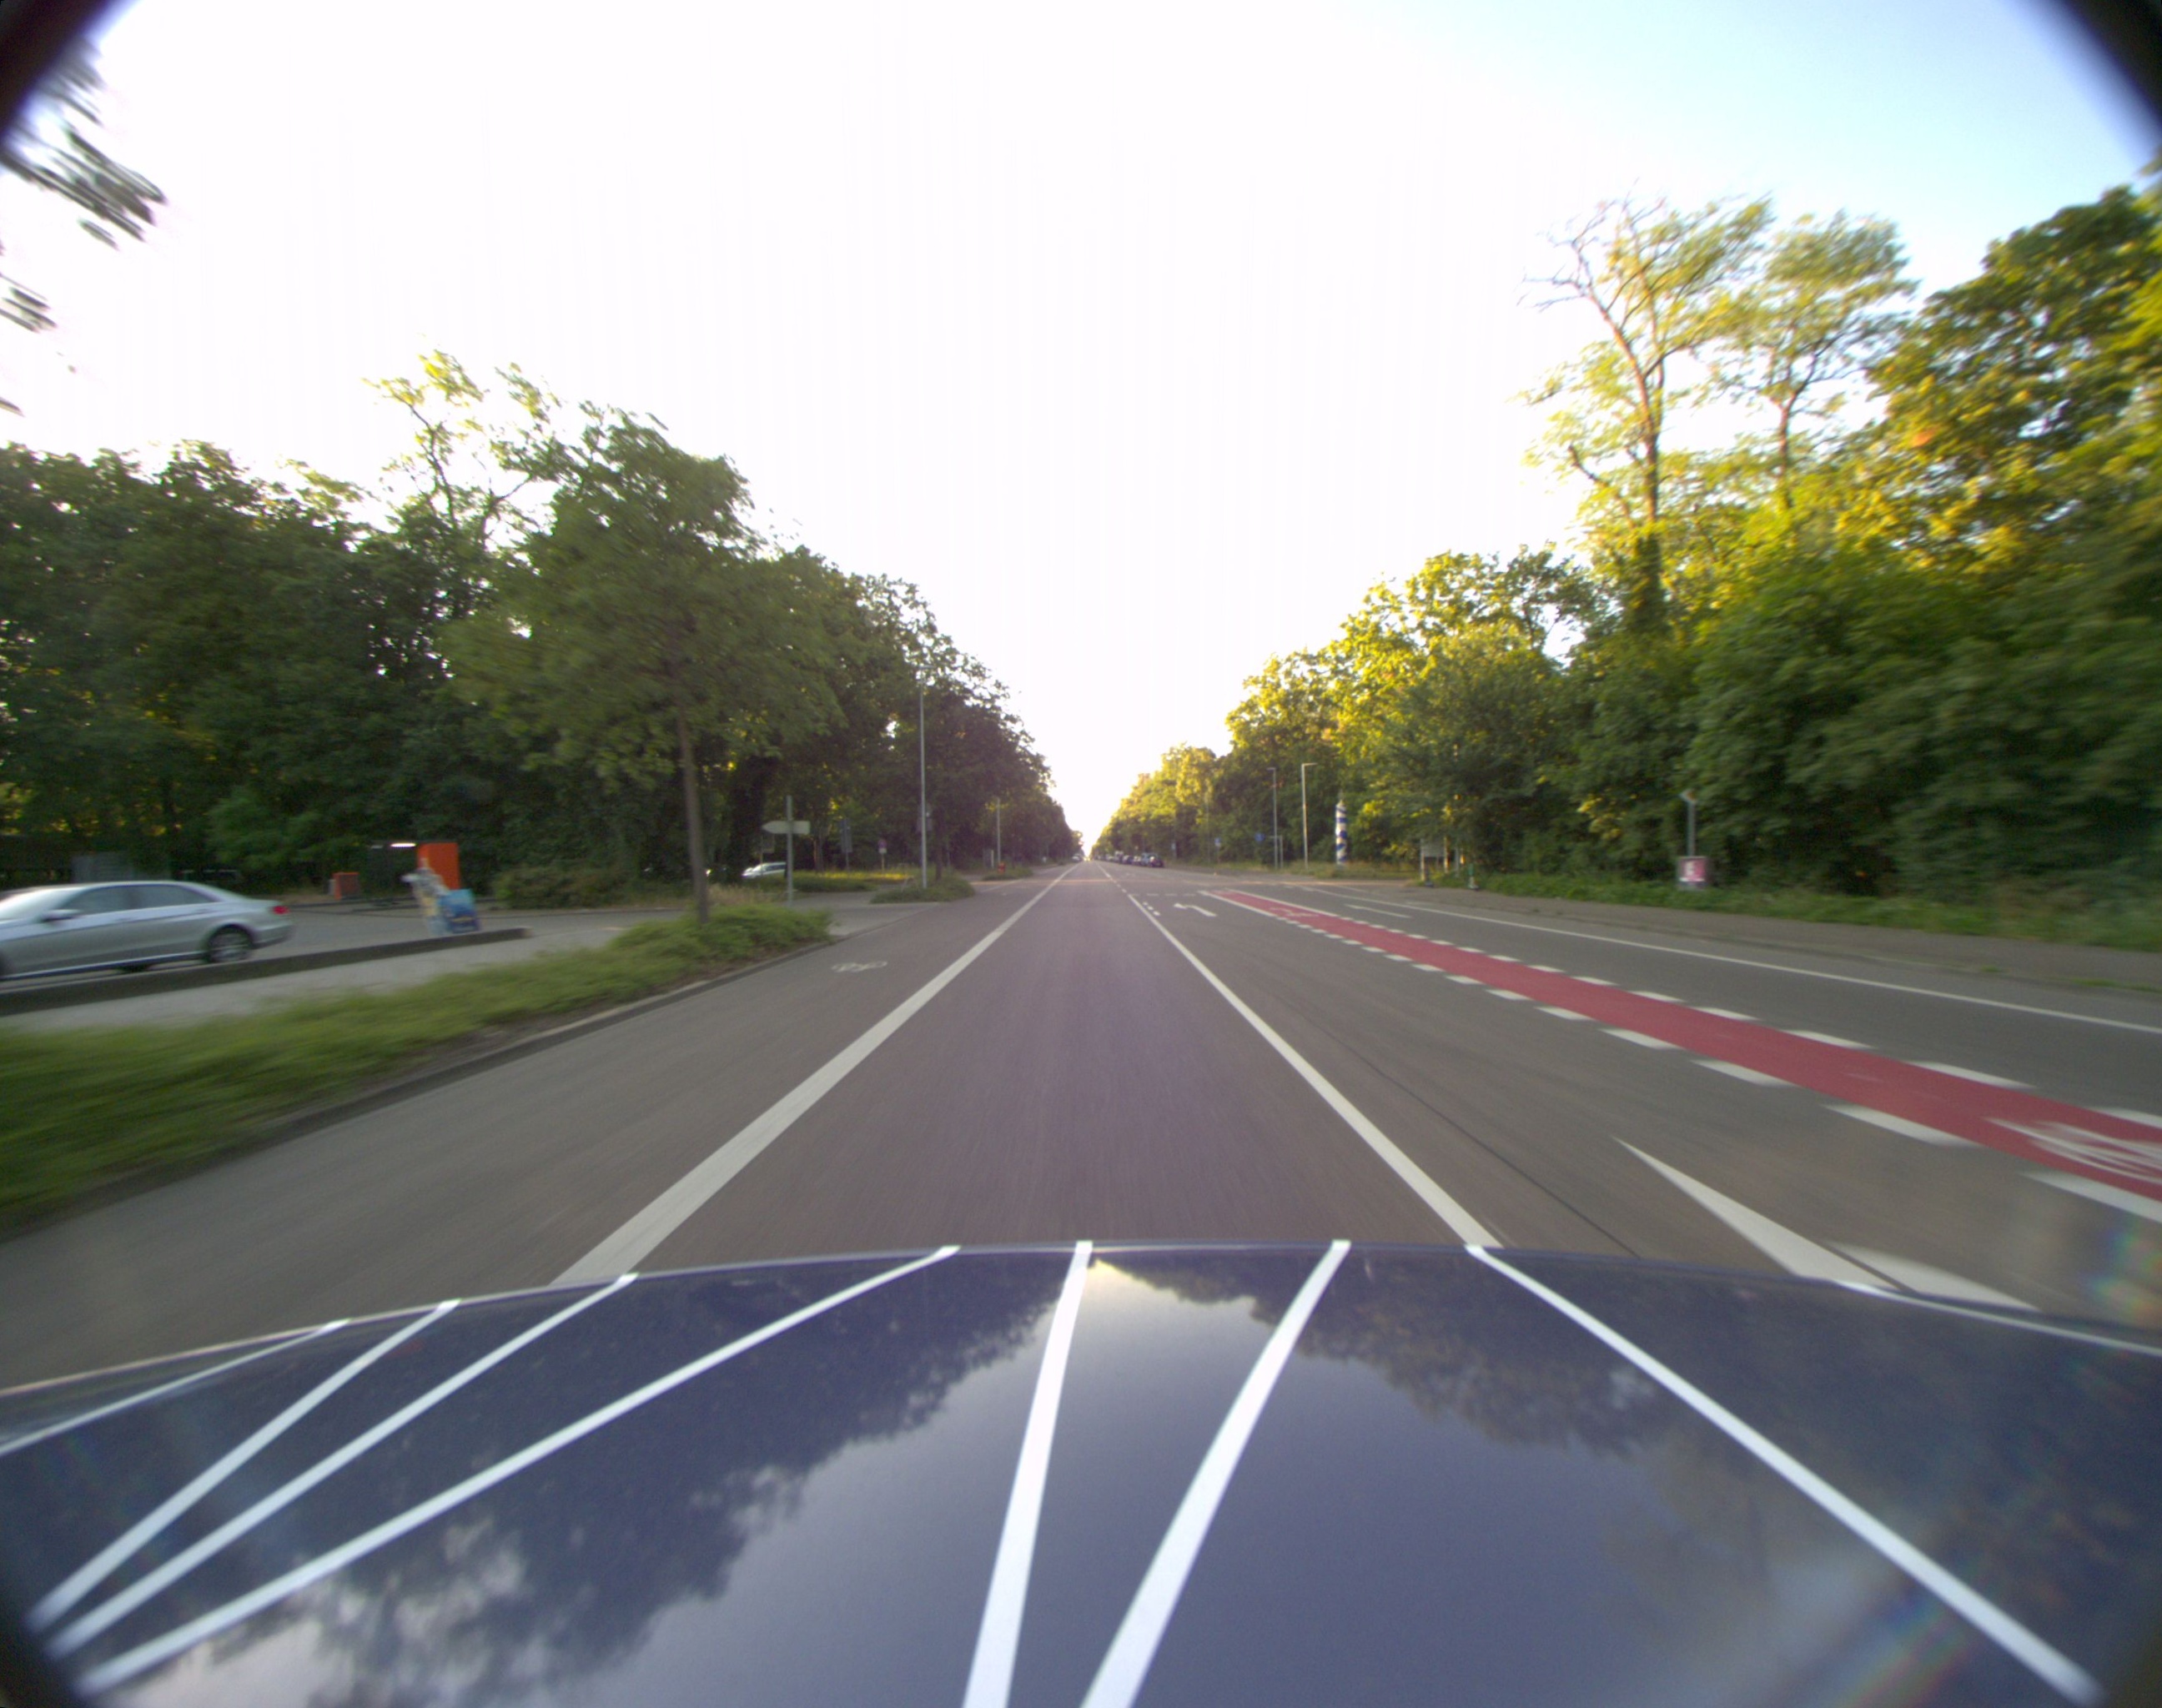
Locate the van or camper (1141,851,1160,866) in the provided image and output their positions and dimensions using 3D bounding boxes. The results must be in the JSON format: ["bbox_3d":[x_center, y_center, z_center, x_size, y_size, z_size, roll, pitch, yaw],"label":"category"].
[{"bbox_3d":[10.210,0.677,112.089,2.037,2.082,5.012,1,0,-3],"label":"van or camper"}]

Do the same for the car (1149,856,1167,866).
[{"bbox_3d":[10.762,0.981,106.426,1.692,1.453,4.241,1,0,-5],"label":"car"}]

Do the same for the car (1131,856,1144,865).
[{"bbox_3d":[9.112,1.055,122.808,1.621,1.525,4.038,1,0,-5],"label":"car"}]

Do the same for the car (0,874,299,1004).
[{"bbox_3d":[-14.859,1.187,11.018,1.773,1.574,4.820,-2,0,4],"label":"car"}]

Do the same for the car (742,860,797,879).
[{"bbox_3d":[-25.526,1.239,62.314,1.537,1.388,4.007,-1,0,30],"label":"car"}]

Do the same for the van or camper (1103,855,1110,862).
[{"bbox_3d":[8.703,1.533,260.674,2.116,2.376,6.381,2,0,-1],"label":"van or camper"}]

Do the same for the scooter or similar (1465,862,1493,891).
[{"bbox_3d":[15.257,0.846,29.151,0.901,1.062,0.495,-1,1,-24],"label":"scooter or similar"}]

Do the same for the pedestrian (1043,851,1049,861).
[{"bbox_3d":[-5.962,0.338,129.555,0.840,1.741,0.726,-1,0,1],"label":"pedestrian"}]

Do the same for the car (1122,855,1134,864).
[{"bbox_3d":[8.521,0.963,137.080,1.749,1.702,4.522,1,0,-1],"label":"car"}]

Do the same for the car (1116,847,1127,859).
[{"bbox_3d":[9.295,-0.176,175.862,2.084,2.591,7.089,2,0,0],"label":"car"}]

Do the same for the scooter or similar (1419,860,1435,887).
[{"bbox_3d":[14.827,0.828,32.531,0.360,1.103,0.881,0,1,43],"label":"scooter or similar"}]

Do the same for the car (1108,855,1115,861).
[{"bbox_3d":[9.302,1.264,233.027,1.699,1.636,4.572,1,-1,-1],"label":"car"}]

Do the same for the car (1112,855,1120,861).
[{"bbox_3d":[9.163,0.994,199.439,1.850,1.454,4.229,1,-1,-2],"label":"car"}]

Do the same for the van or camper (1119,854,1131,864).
[{"bbox_3d":[8.740,0.960,152.057,2.008,2.006,5.460,1,0,-1],"label":"van or camper"}]
